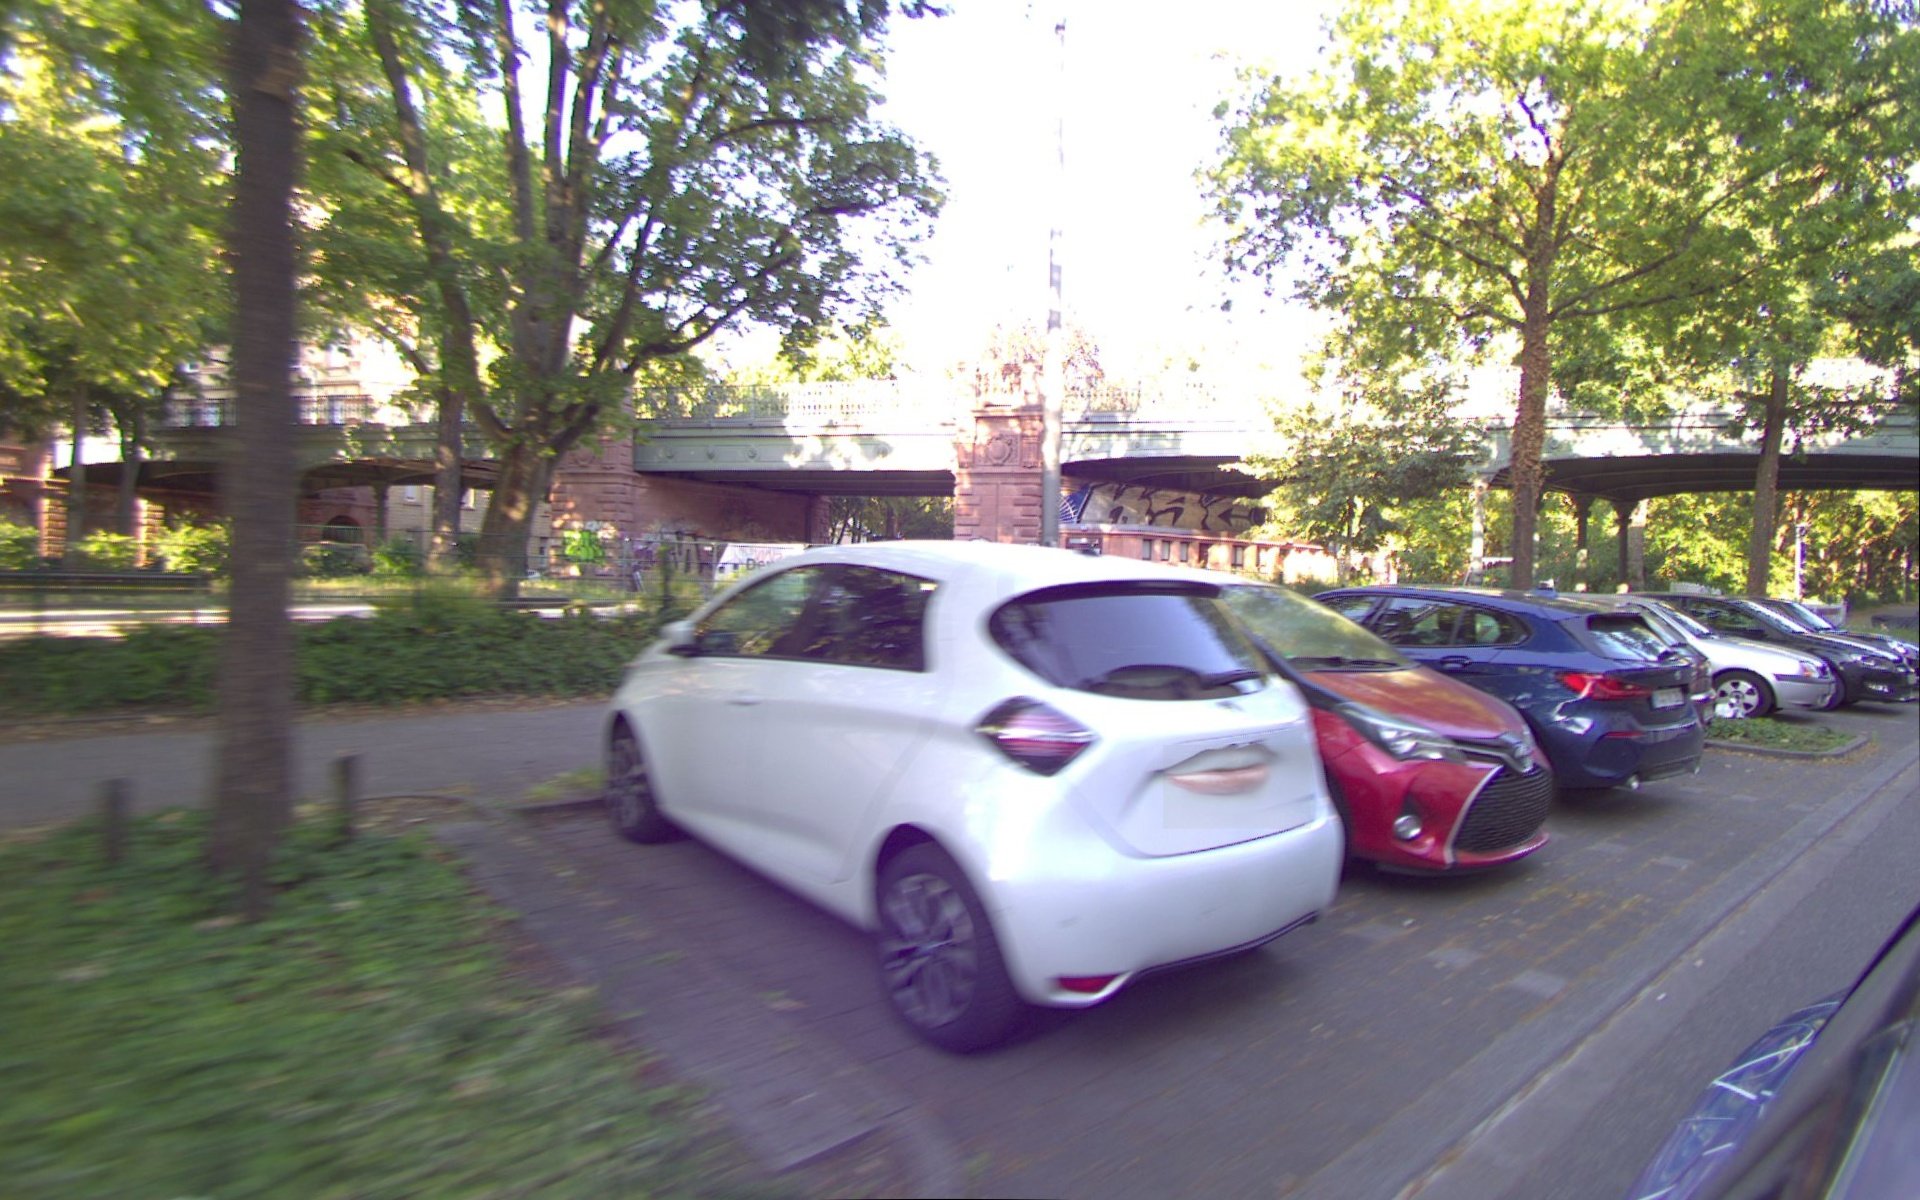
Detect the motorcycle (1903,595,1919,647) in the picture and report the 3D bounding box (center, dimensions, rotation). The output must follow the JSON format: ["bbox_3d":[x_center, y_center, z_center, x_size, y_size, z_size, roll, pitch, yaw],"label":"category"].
[{"bbox_3d":[27.210,0.594,27.911,0.697,1.425,1.609,-1,1,-20],"label":"motorcycle"}]

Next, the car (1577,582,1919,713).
[{"bbox_3d":[11.076,0.533,14.141,1.795,1.418,3.792,-2,4,-39],"label":"car"}]

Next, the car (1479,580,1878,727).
[{"bbox_3d":[8.861,0.531,12.737,1.635,1.418,3.790,-2,4,-40],"label":"car"}]

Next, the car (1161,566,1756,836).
[{"bbox_3d":[3.524,0.515,7.821,1.633,1.464,3.796,-1,3,-35],"label":"car"}]

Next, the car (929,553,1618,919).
[{"bbox_3d":[1.584,0.484,6.233,1.634,1.491,3.793,-1,4,-38],"label":"car"}]

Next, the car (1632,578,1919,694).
[{"bbox_3d":[12.809,0.468,15.629,1.608,1.490,3.786,-2,4,-44],"label":"car"}]

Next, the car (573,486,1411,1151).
[{"bbox_3d":[-0.258,0.442,4.507,1.635,1.666,3.791,-1,4,-39],"label":"car"}]

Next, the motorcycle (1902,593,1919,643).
[{"bbox_3d":[28.510,0.538,29.337,0.697,1.425,1.609,-1,1,-20],"label":"motorcycle"}]

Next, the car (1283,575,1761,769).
[{"bbox_3d":[5.384,0.528,10.025,1.738,1.418,3.786,-2,4,-44],"label":"car"}]
